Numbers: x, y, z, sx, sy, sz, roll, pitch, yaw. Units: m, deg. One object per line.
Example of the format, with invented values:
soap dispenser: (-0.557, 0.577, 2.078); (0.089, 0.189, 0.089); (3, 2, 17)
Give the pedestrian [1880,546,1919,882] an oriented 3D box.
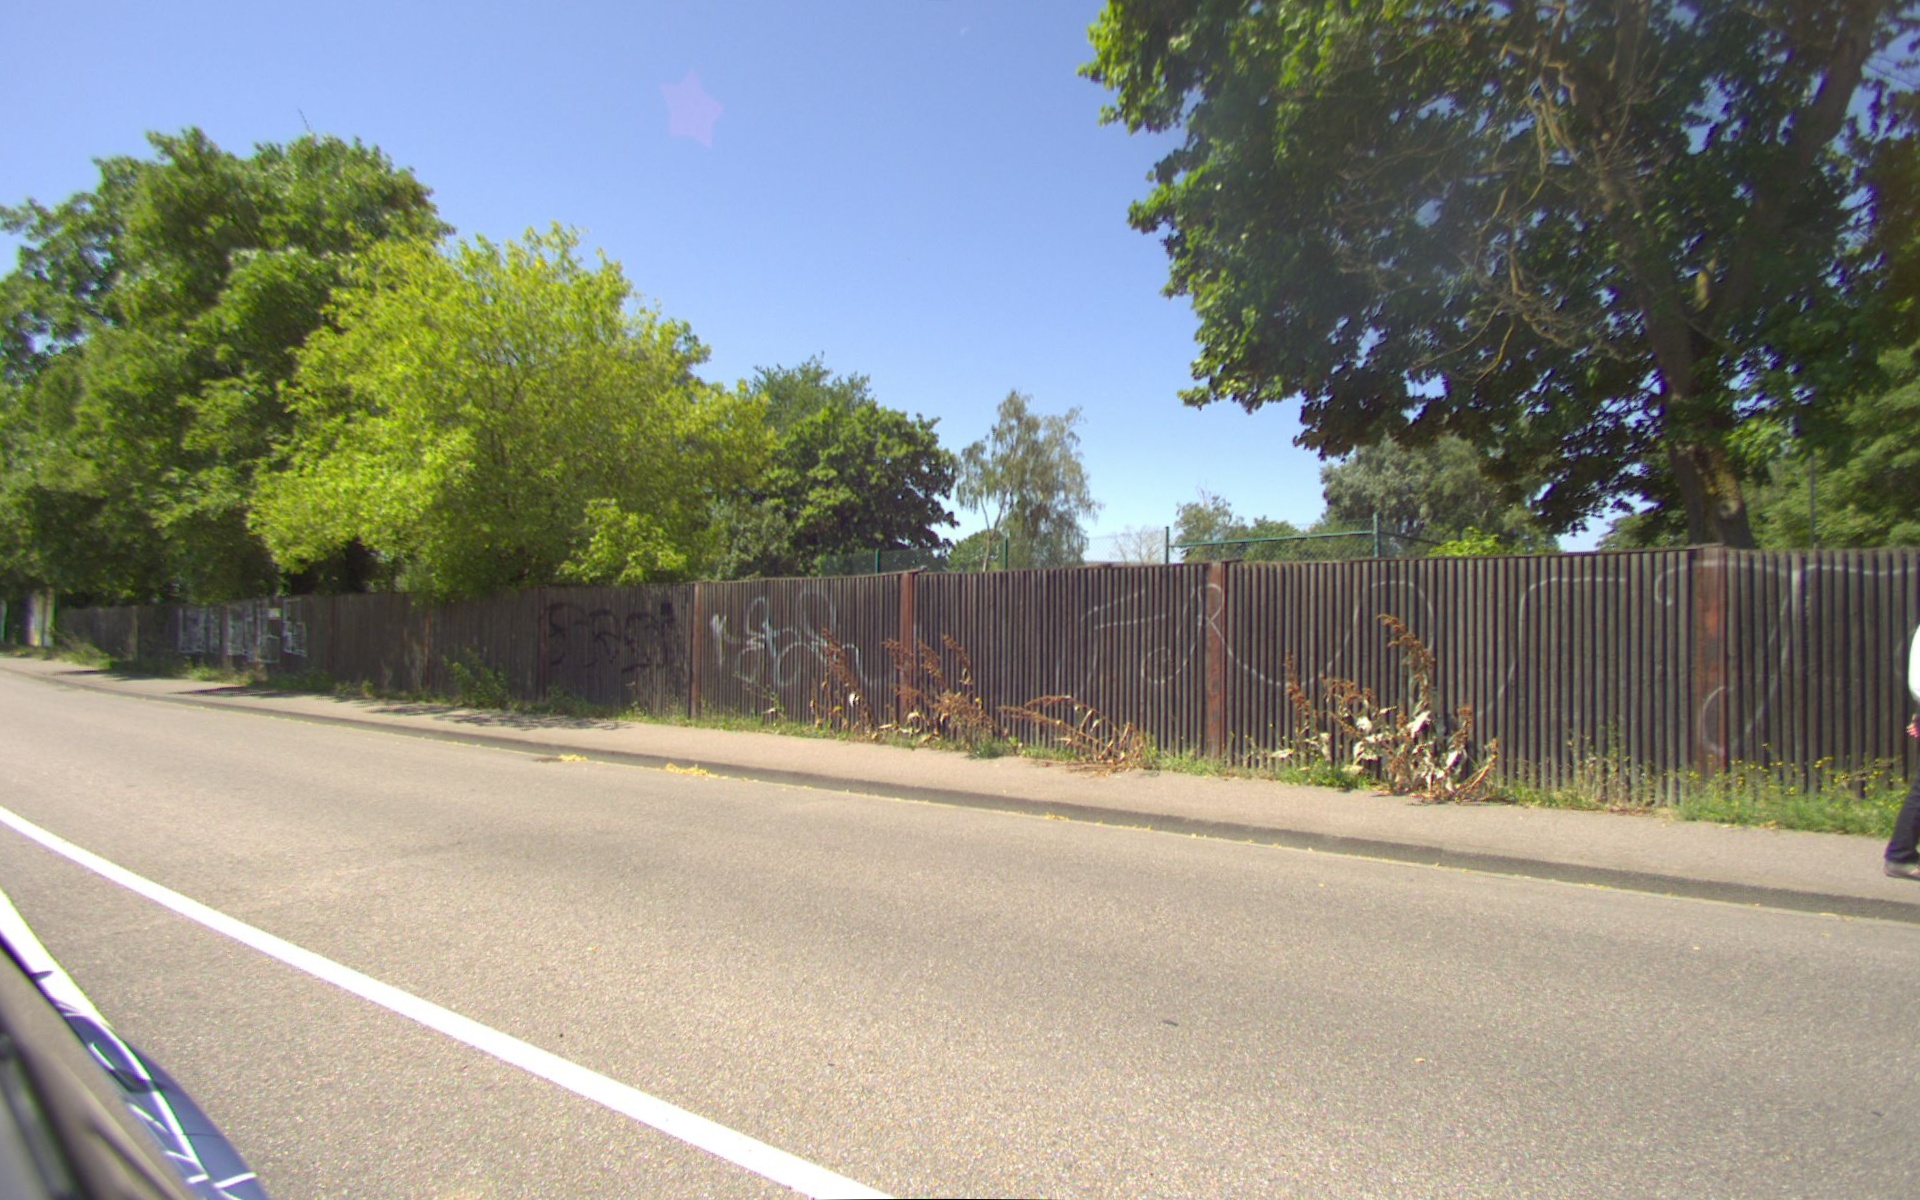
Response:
pedestrian: (5.674, 0.619, 5.572); (0.850, 1.838, 0.586); (-1, -1, 41)
